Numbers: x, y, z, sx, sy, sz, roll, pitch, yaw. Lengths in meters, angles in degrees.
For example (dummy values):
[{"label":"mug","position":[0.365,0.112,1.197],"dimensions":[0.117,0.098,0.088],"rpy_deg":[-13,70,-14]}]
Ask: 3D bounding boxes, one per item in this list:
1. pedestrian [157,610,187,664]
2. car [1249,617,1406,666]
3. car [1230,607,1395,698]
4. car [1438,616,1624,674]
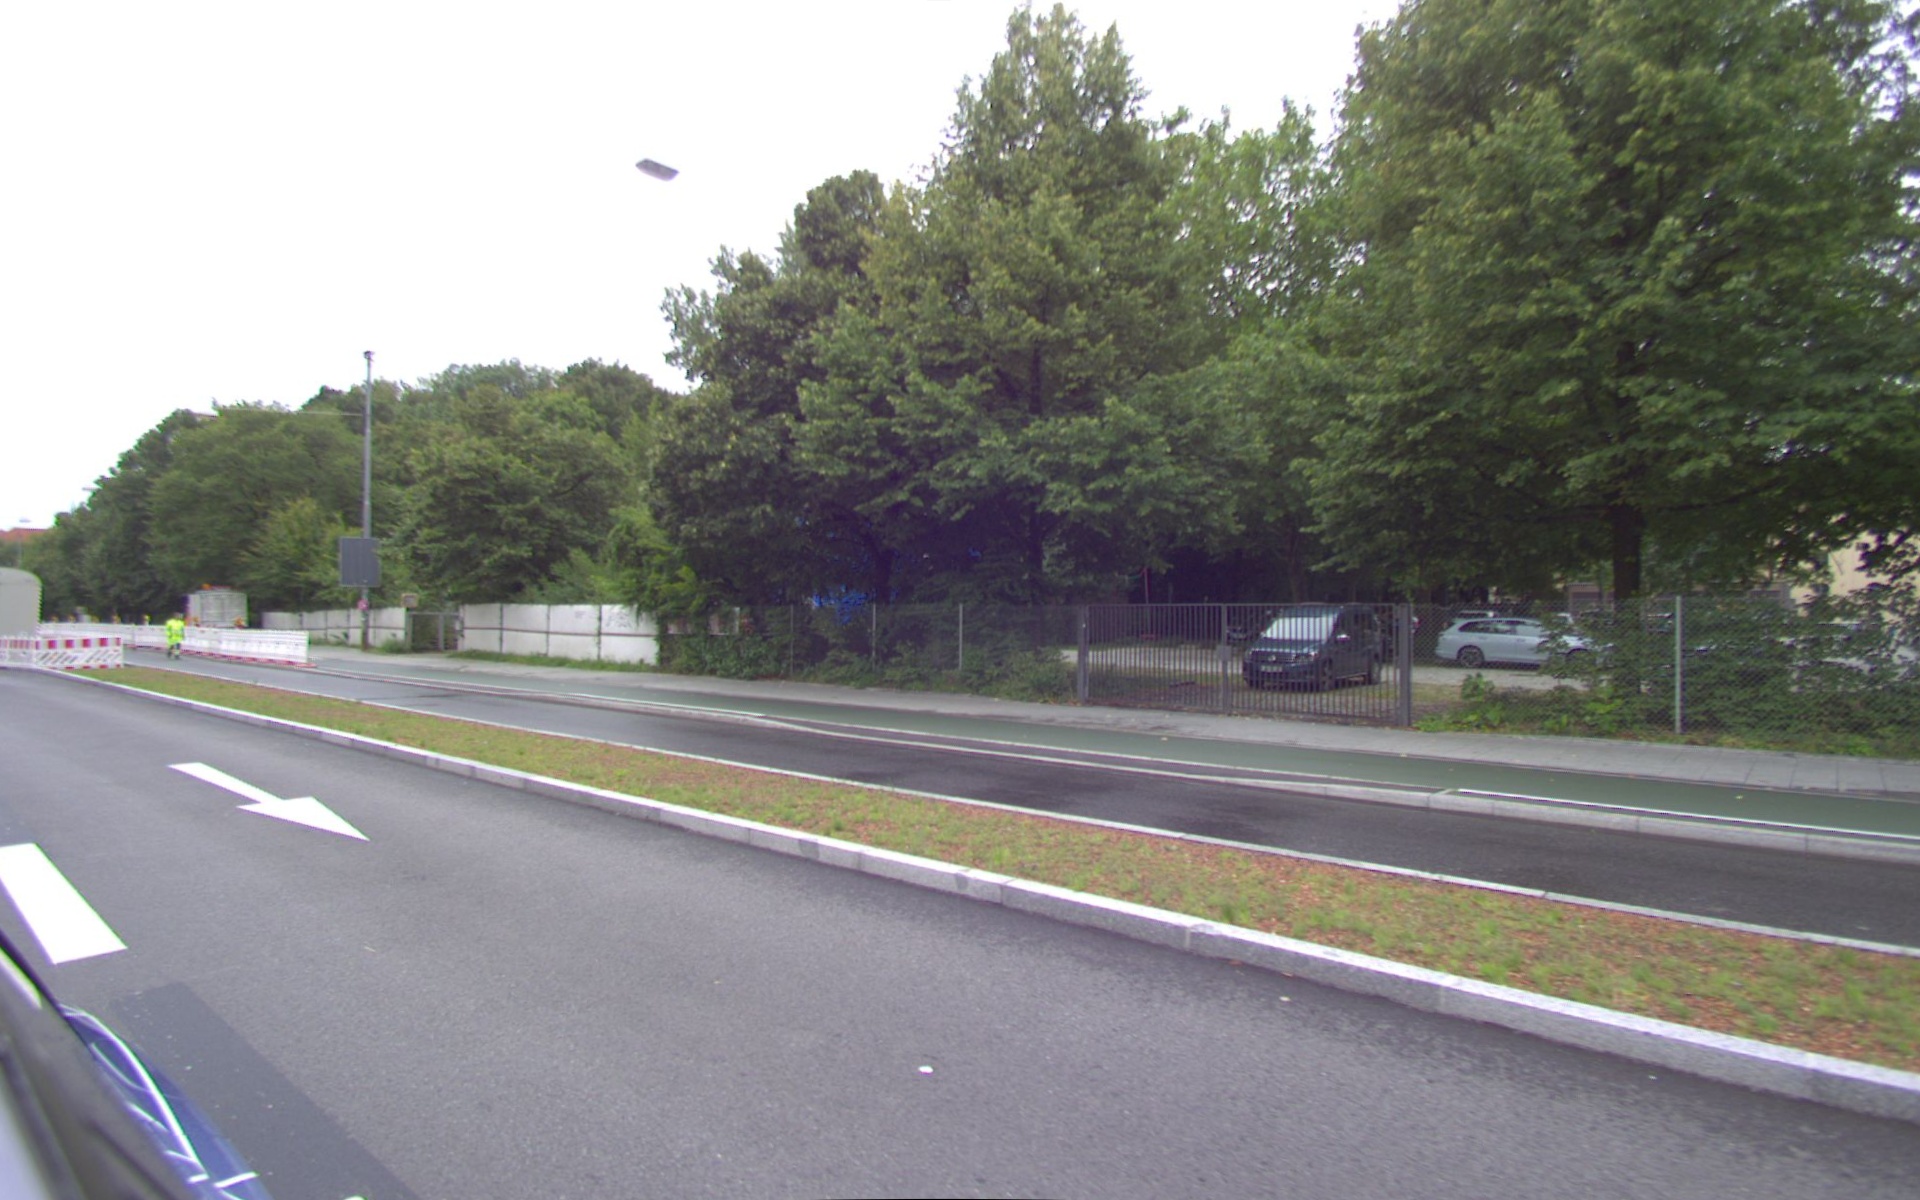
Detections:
[{"label":"pedestrian","position":[-30.648,1.426,39.360],"dimensions":[0.867,2.029,0.747],"rpy_deg":[-1,-1,41]},{"label":"car","position":[11.578,1.268,32.017],"dimensions":[4.257,1.414,1.974],"rpy_deg":[-1,-1,39]},{"label":"car","position":[7.796,1.052,22.213],"dimensions":[1.877,1.722,3.981],"rpy_deg":[2,1,45]},{"label":"car","position":[15.871,1.198,28.236],"dimensions":[4.257,1.459,1.974],"rpy_deg":[-1,-1,39]}]
